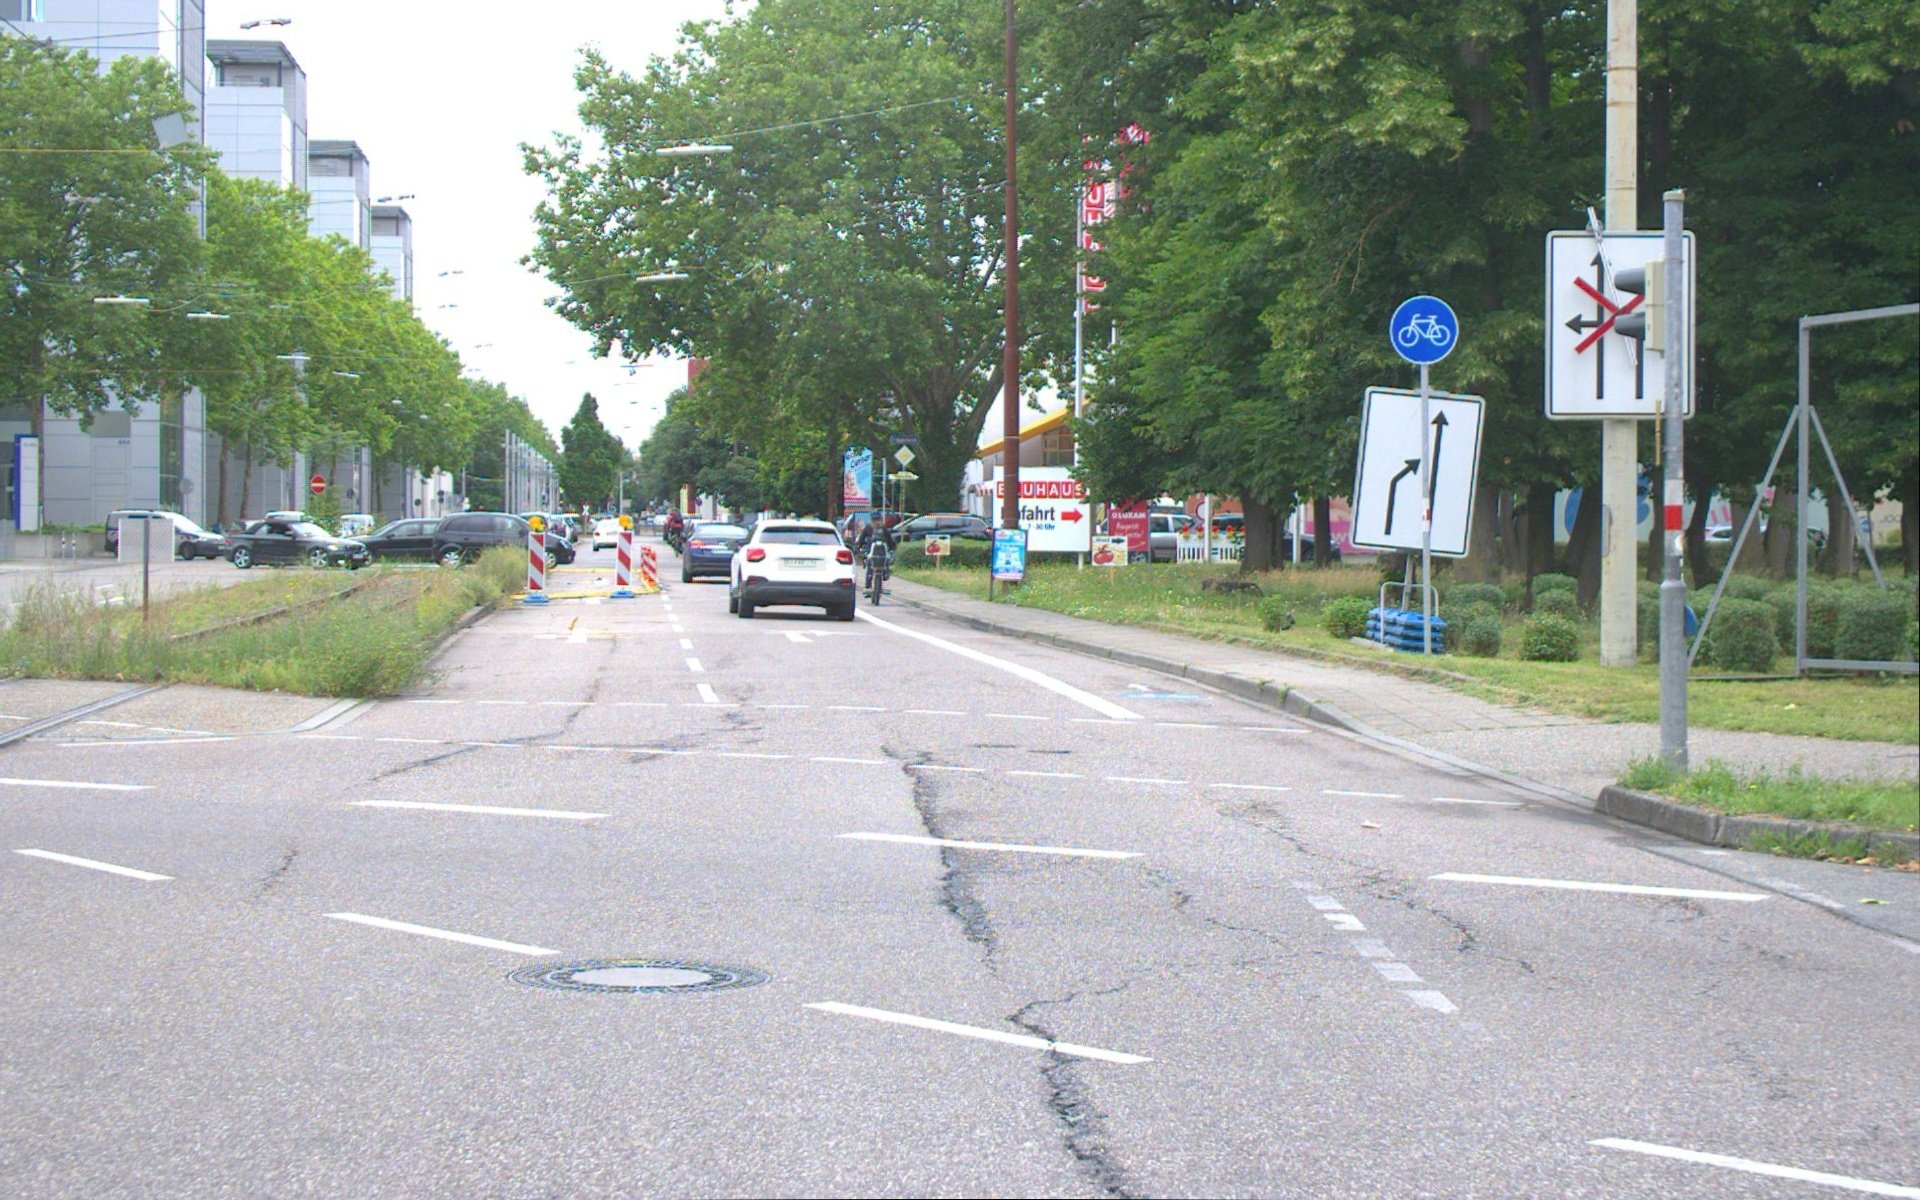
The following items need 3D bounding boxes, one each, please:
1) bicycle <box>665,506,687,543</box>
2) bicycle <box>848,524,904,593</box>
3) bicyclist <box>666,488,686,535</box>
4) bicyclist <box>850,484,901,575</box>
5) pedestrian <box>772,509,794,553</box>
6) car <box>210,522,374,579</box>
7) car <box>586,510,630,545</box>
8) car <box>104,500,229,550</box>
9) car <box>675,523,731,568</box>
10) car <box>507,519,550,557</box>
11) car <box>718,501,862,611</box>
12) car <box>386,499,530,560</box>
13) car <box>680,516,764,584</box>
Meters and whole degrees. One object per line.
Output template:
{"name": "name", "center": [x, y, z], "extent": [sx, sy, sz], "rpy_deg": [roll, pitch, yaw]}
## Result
{"name": "bicycle", "center": [-11.014, -2.926, 133.292], "extent": [0.670, 1.389, 2.167], "rpy_deg": [2, 1, -8]}
{"name": "bicycle", "center": [-1.533, -0.758, 62.211], "extent": [0.816, 1.208, 2.684], "rpy_deg": [1, 1, -6]}
{"name": "bicyclist", "center": [-11.007, -3.421, 133.347], "extent": [0.670, 1.809, 0.760], "rpy_deg": [2, 1, -8]}
{"name": "bicyclist", "center": [-1.534, -1.275, 62.200], "extent": [0.816, 1.624, 1.235], "rpy_deg": [0, 1, -5]}
{"name": "pedestrian", "center": [-6.775, -2.650, 131.721], "extent": [0.760, 1.699, 0.682], "rpy_deg": [0, 1, -10]}
{"name": "car", "center": [-18.571, -1.365, 95.600], "extent": [4.121, 1.470, 1.823], "rpy_deg": [-1, -1, 21]}
{"name": "car", "center": [-16.104, -3.311, 157.332], "extent": [1.795, 1.508, 3.707], "rpy_deg": [2, 1, -8]}
{"name": "car", "center": [-29.001, -2.734, 125.744], "extent": [4.411, 1.777, 1.826], "rpy_deg": [0, 1, -11]}
{"name": "car", "center": [-9.498, -2.011, 126.921], "extent": [1.876, 1.627, 4.001], "rpy_deg": [0, 1, -7]}
{"name": "car", "center": [-18.958, -2.741, 151.145], "extent": [1.876, 1.627, 4.001], "rpy_deg": [0, 1, -7]}
{"name": "car", "center": [-2.667, -0.709, 53.334], "extent": [1.823, 1.595, 3.777], "rpy_deg": [2, 1, -8]}
{"name": "car", "center": [-14.085, -1.965, 96.652], "extent": [3.882, 1.550, 1.826], "rpy_deg": [2, 0, -6]}
{"name": "car", "center": [-5.702, -1.203, 82.003], "extent": [1.683, 1.508, 3.707], "rpy_deg": [2, 1, -8]}
